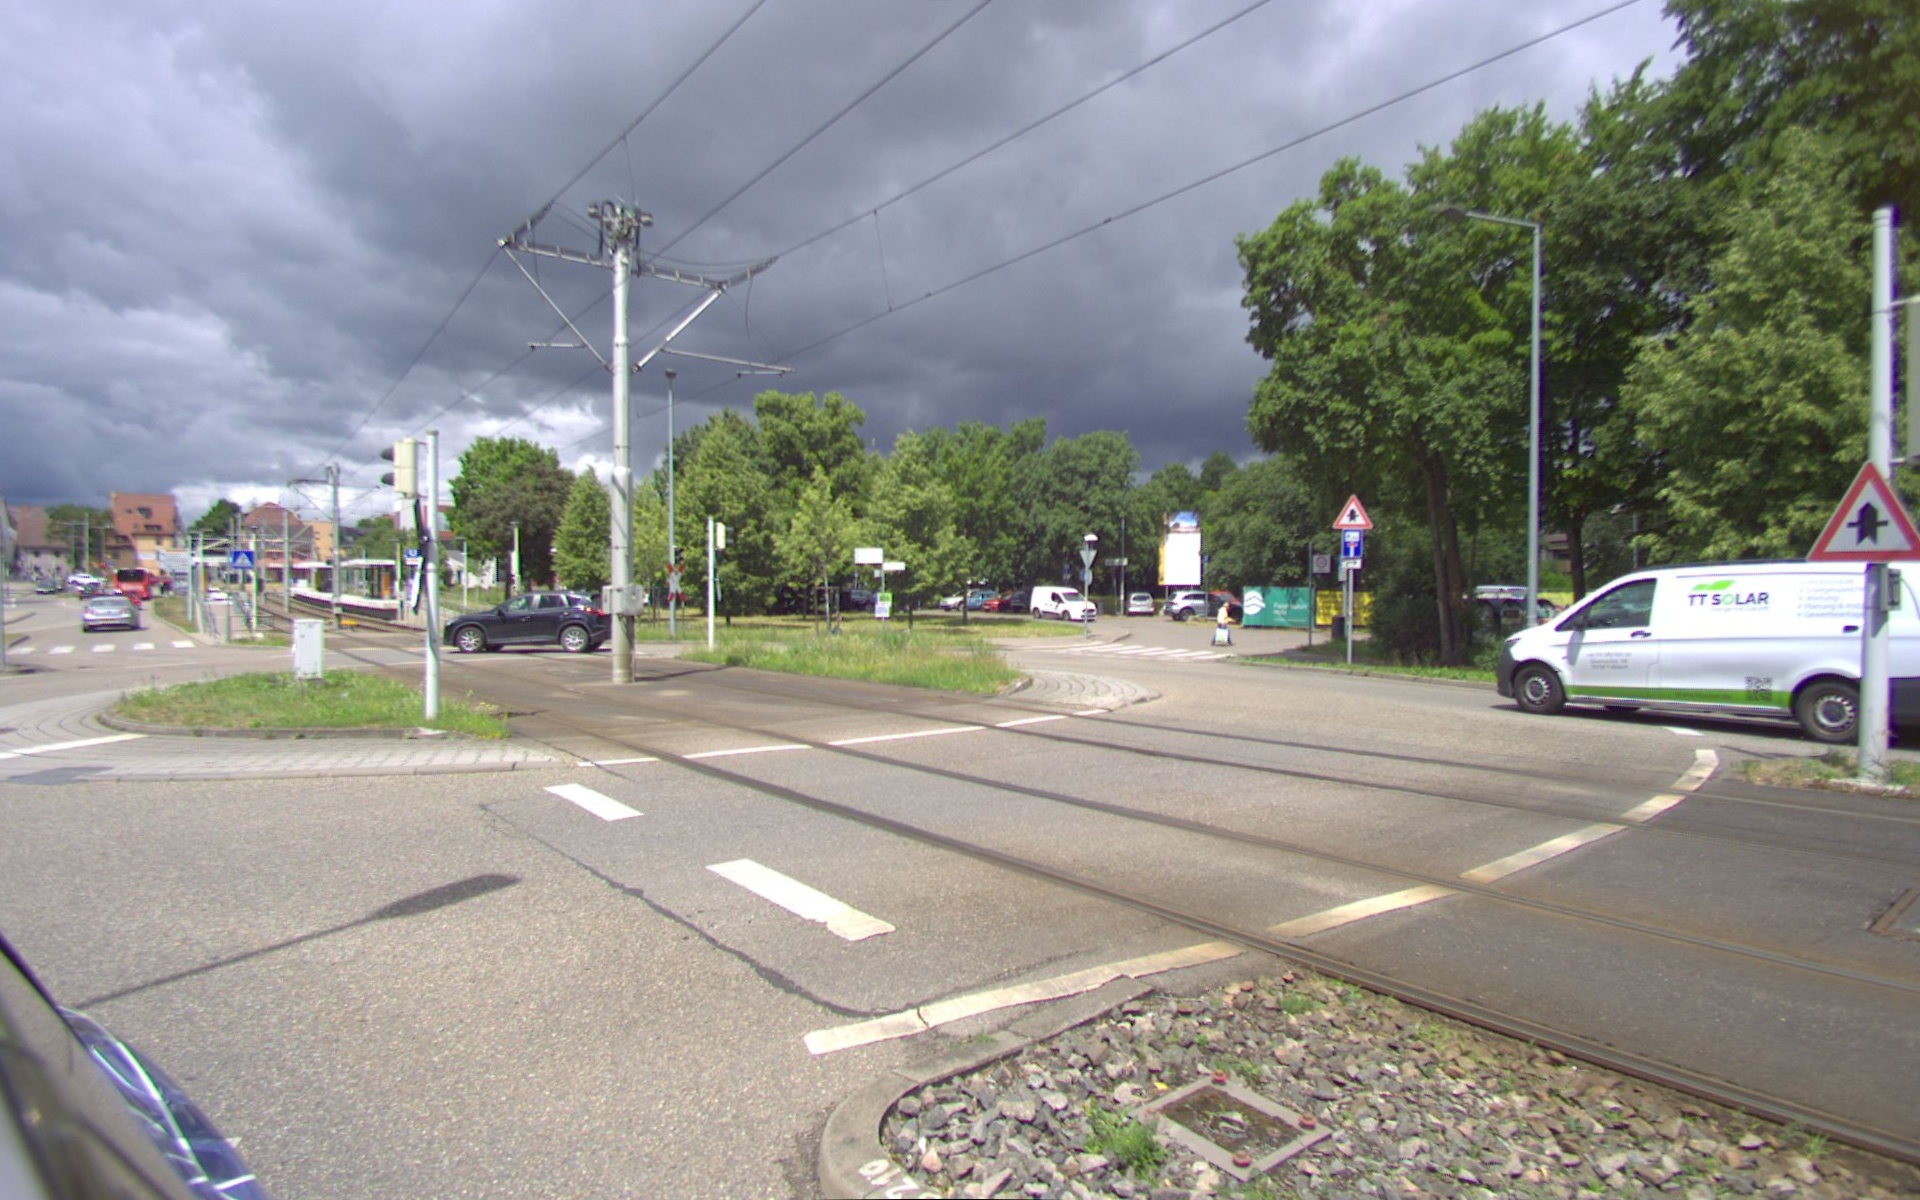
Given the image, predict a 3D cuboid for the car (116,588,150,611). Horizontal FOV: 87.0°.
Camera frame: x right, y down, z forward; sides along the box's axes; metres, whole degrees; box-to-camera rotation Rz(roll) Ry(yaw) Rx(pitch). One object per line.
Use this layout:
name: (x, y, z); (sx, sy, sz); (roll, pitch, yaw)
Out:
car: (-59.181, -0.065, 72.451); (1.711, 1.521, 3.522); (-2, 2, -37)

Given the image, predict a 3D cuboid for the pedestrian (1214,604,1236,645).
pedestrian: (9.904, 0.909, 37.813); (0.745, 1.468, 0.891); (0, 1, 19)

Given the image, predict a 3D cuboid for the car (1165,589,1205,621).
car: (12.669, 0.259, 57.238); (1.977, 1.601, 3.575); (1, 2, 9)

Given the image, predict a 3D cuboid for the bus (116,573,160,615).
bus: (-79.893, -0.553, 98.486); (2.878, 3.916, 10.402); (0, 0, -37)

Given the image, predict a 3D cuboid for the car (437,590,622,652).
car: (-11.596, 0.568, 27.494); (4.261, 1.597, 1.861); (1, -1, -4)

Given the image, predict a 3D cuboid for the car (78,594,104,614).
car: (-87.107, 0.396, 101.522); (1.822, 1.942, 3.785); (0, 0, -38)

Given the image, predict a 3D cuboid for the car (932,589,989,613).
car: (0.008, 0.053, 71.727); (3.902, 1.652, 1.572); (0, 2, 40)

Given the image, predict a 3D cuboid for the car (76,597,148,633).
car: (-36.228, 0.605, 43.339); (1.909, 1.392, 4.673); (-2, 2, -35)

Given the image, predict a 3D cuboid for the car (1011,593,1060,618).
car: (5.105, 0.363, 67.734); (1.626, 1.602, 3.575); (0, -1, 36)

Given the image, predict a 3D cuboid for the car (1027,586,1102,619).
car: (5.683, 0.110, 55.432); (1.713, 1.702, 4.363); (-2, 1, -33)

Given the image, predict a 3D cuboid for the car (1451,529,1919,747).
car: (8.750, 0.286, 12.025); (1.848, 2.033, 5.253); (-1, 2, -25)

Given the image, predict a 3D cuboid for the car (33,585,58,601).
car: (-109.698, -0.837, 121.362); (1.968, 1.874, 4.008); (0, 0, -39)

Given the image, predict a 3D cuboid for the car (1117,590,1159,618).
car: (10.992, 0.237, 62.804); (1.973, 1.696, 3.998); (0, 0, 2)

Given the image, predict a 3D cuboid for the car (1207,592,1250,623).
car: (15.176, 0.388, 57.289); (1.977, 1.601, 3.575); (1, 2, 9)
